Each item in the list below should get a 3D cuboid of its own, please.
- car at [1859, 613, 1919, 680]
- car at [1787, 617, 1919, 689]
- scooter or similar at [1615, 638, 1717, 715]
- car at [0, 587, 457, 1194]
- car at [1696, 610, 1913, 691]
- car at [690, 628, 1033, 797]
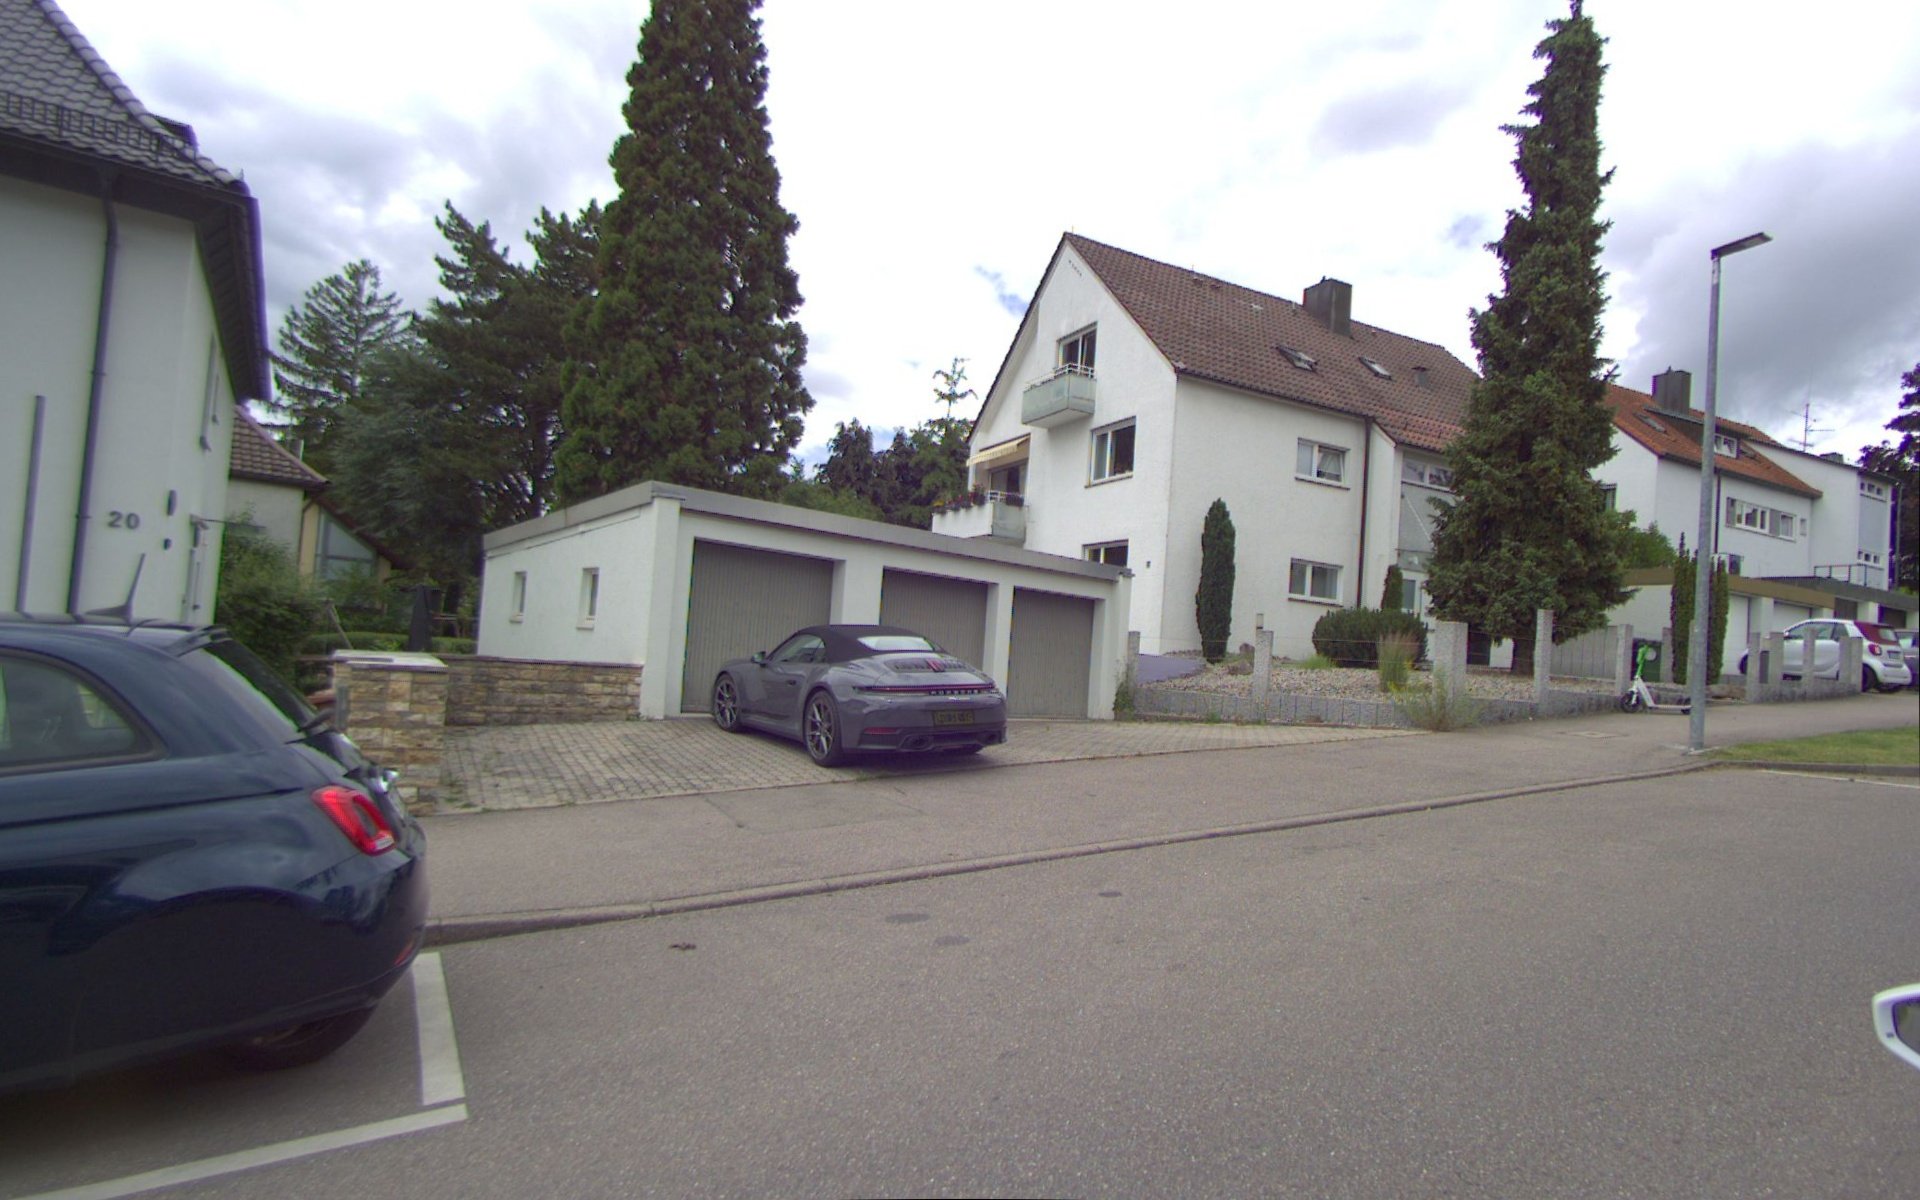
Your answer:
[{"bbox_3d":[25.874,1.291,25.303,1.888,1.651,4.389,2,2,-30],"label":"car"},{"bbox_3d":[22.261,1.286,24.024,1.672,1.532,3.415,3,1,-28],"label":"car"},{"bbox_3d":[11.186,1.214,15.921,1.430,1.164,0.474,1,1,-14],"label":"scooter or similar"},{"bbox_3d":[-3.523,0.741,3.050,3.466,1.557,1.869,2,-1,-30],"label":"car"},{"bbox_3d":[19.336,1.119,23.142,1.636,1.599,3.415,3,1,-28],"label":"car"},{"bbox_3d":[-1.276,1.031,10.937,1.885,1.386,4.258,1,-1,-35],"label":"car"}]
